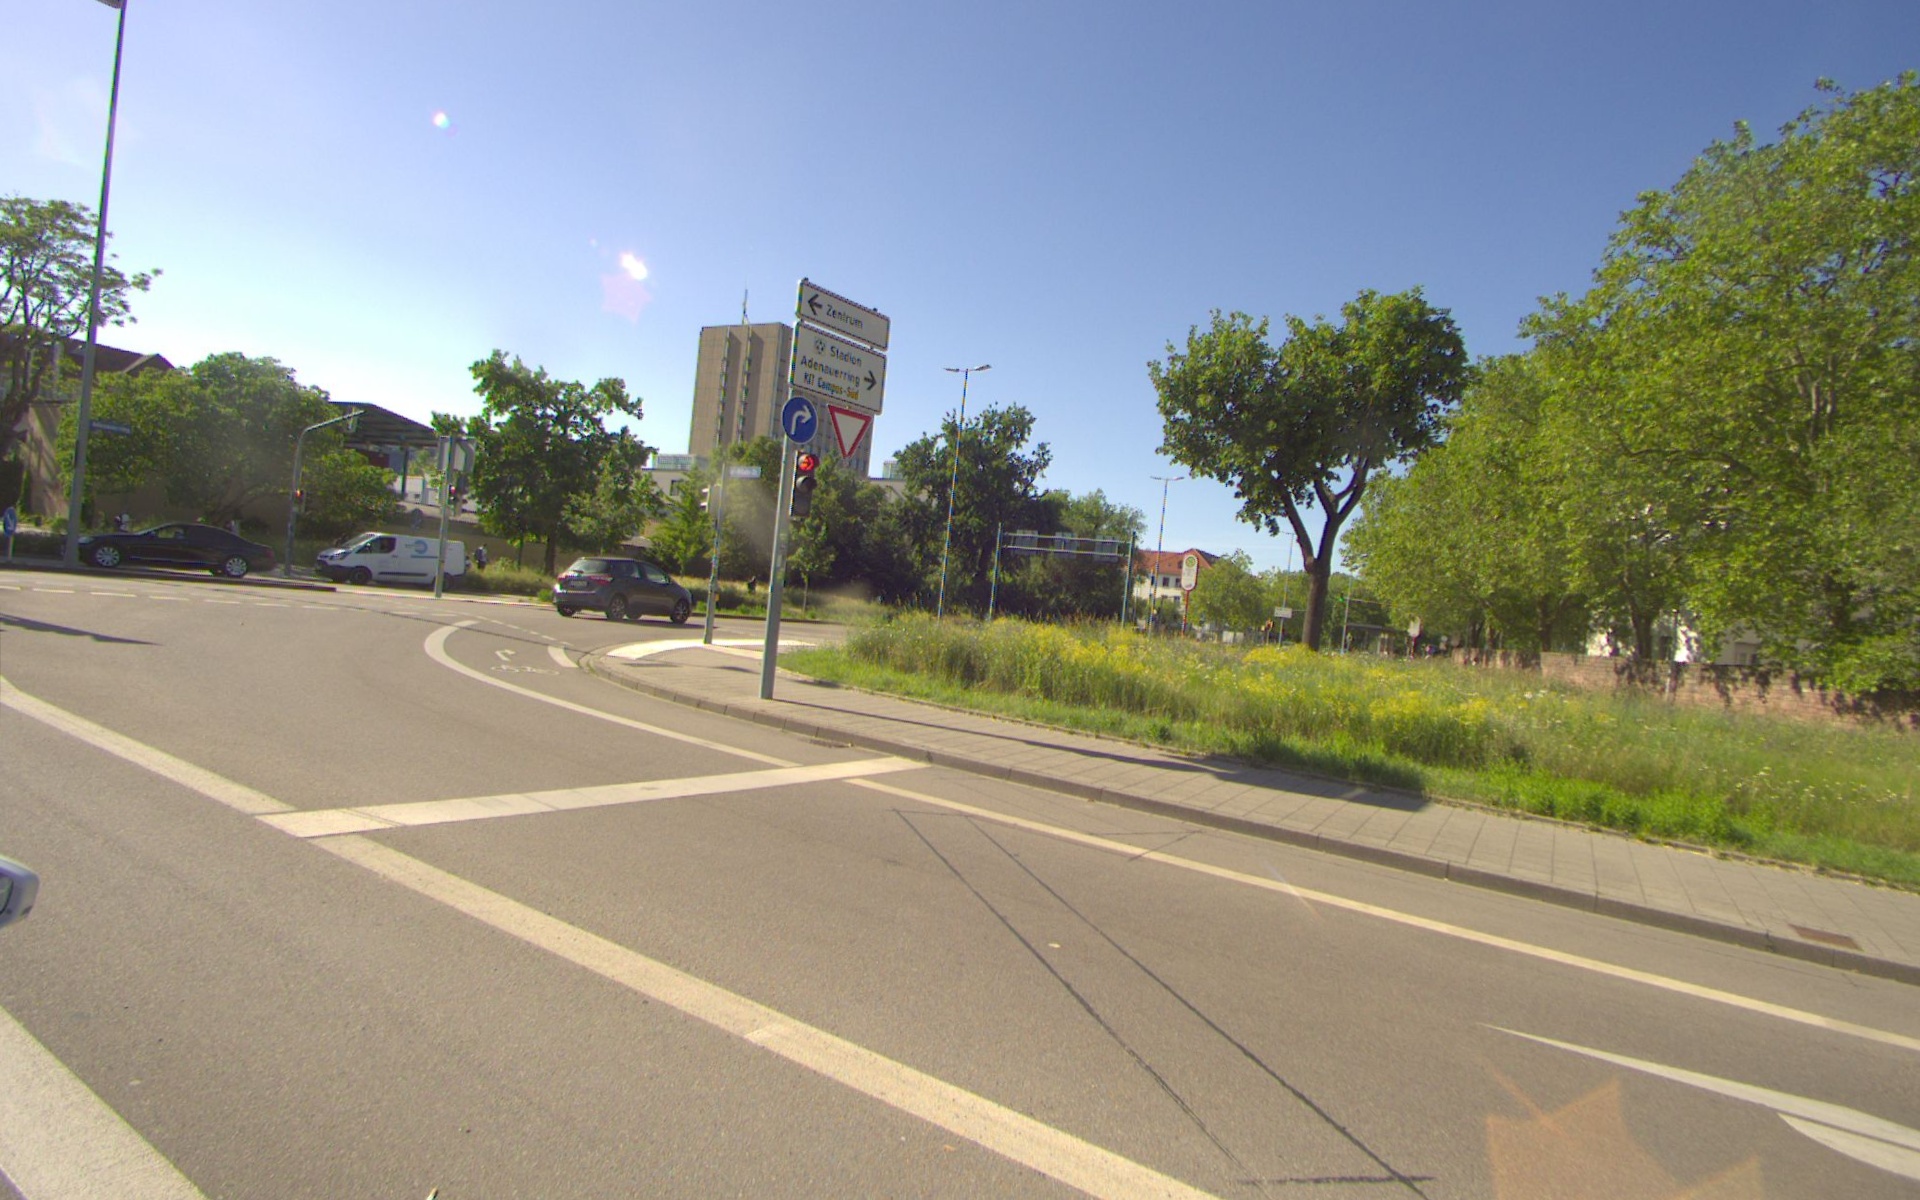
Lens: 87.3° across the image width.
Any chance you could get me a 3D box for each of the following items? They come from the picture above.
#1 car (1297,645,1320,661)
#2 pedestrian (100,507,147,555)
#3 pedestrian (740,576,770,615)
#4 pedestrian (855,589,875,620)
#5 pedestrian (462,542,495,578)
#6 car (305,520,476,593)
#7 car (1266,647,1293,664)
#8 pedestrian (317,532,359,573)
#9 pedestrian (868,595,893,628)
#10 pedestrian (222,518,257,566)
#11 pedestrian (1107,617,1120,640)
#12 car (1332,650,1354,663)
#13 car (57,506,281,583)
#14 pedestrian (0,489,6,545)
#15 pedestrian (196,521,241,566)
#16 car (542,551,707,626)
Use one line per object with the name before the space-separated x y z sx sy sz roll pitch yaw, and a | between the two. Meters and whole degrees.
car | 43.807 6.683 126.332 1.966 1.666 3.997 6 -2 29
pedestrian | -30.311 -2.498 36.460 0.917 1.540 1.083 7 1 41
pedestrian | -12.165 -0.261 59.706 0.966 2.106 1.186 7 1 35
pedestrian | -6.693 0.331 70.959 0.800 2.106 0.896 7 1 35
pedestrian | -22.388 -1.865 46.748 0.871 1.540 0.971 7 1 35
car | -21.020 -1.567 37.328 2.042 2.038 4.994 7 0 39
car | 37.461 6.545 117.976 1.880 1.625 4.130 7 0 32
pedestrian | -26.215 -1.998 42.436 0.927 1.540 1.145 7 1 38
pedestrian | -5.610 0.809 70.981 1.065 2.106 1.231 7 1 35
pedestrian | -28.656 -2.296 39.998 0.959 1.754 0.915 6 1 -40
pedestrian | 14.973 2.777 98.250 0.633 2.194 0.912 7 1 35
car | 52.641 7.762 138.234 1.967 1.378 4.000 7 0 31
car | -23.393 -1.602 29.924 2.070 1.601 4.839 7 0 38
pedestrian | -33.178 -2.887 34.181 0.796 1.879 0.931 7 1 41
pedestrian | -27.813 -2.109 37.736 0.865 1.540 1.074 7 1 36
car | -8.250 -0.232 25.144 1.710 1.535 3.999 5 -1 20
